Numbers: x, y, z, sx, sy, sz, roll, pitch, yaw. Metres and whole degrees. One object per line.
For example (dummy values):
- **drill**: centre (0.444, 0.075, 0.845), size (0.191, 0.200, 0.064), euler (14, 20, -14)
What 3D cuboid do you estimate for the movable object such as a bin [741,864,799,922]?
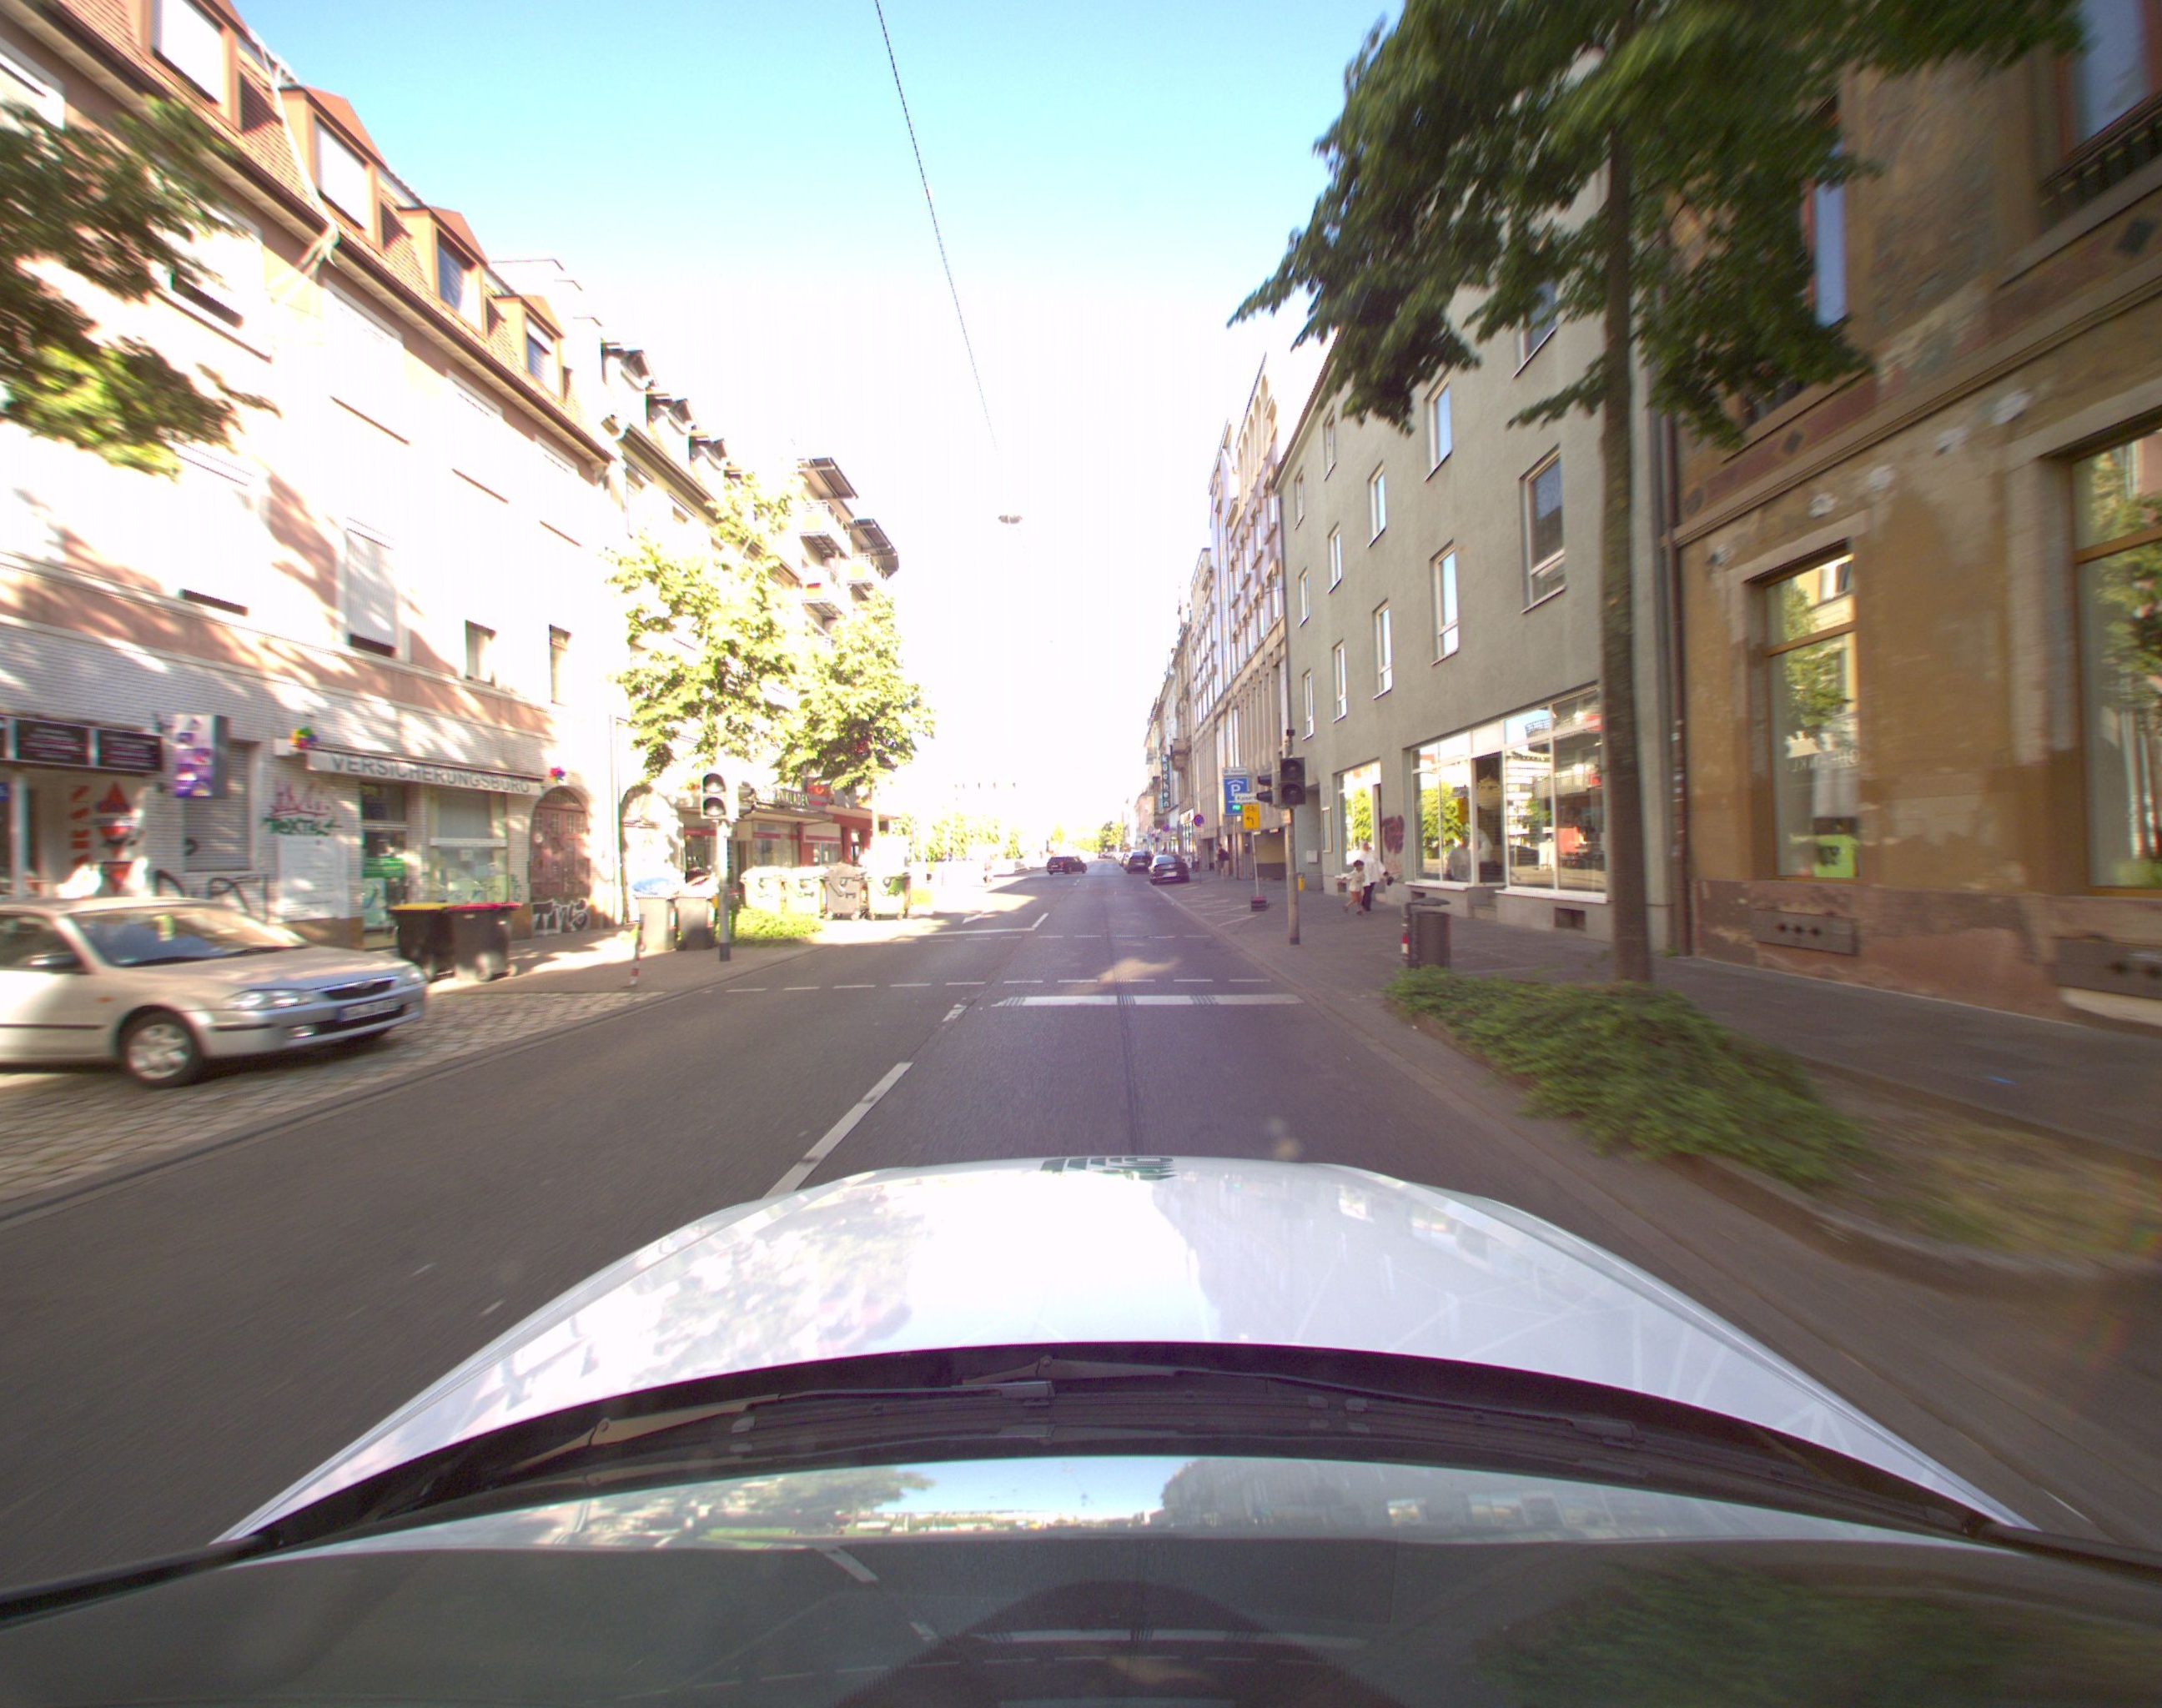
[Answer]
- **movable object such as a bin**: centre (-8.282, 1.020, 21.724), size (1.038, 1.471, 1.143), euler (-2, 0, 0)

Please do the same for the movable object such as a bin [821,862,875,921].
- **movable object such as a bin**: centre (-6.212, 0.992, 21.776), size (1.038, 1.471, 1.143), euler (-2, 0, 0)

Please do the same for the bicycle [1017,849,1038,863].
- **bicycle**: centre (-8.257, 0.295, 125.522), size (3.101, 2.013, 0.911), euler (-1, 0, 10)

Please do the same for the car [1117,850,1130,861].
- **car**: centre (5.899, 0.249, 113.814), size (1.785, 1.460, 3.869), euler (-1, -1, 2)

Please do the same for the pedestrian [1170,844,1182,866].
- **pedestrian**: centre (7.437, 0.097, 63.902), size (0.797, 1.674, 0.590), euler (-4, 0, 4)

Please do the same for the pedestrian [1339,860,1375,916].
- **pedestrian**: centre (5.416, 0.656, 15.997), size (0.392, 1.033, 0.740), euler (-5, 0, 0)

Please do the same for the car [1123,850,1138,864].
- **car**: centre (5.545, 0.344, 90.738), size (1.607, 1.546, 2.857), euler (-1, 1, 3)

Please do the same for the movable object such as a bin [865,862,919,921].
- **movable object such as a bin**: centre (-5.034, 0.974, 21.829), size (1.038, 1.471, 1.452), euler (-2, 0, 0)

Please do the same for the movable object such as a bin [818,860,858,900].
- **movable object such as a bin**: centre (-9.039, 0.956, 30.347), size (1.038, 1.404, 1.314), euler (-2, 0, 0)

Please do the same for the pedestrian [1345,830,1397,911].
- **pedestrian**: centre (5.928, 0.330, 16.691), size (0.578, 1.559, 1.021), euler (-5, 0, 0)

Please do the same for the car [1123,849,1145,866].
- **car**: centre (5.025, 0.320, 77.690), size (1.832, 1.546, 4.229), euler (-1, 1, 1)

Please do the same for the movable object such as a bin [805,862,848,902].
- **movable object such as a bin**: centre (-9.033, 0.975, 28.985), size (1.038, 1.345, 1.314), euler (-2, 0, 0)

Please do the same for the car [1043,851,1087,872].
- **car**: centre (-1.171, 0.572, 63.396), size (1.918, 1.487, 4.293), euler (-1, 1, 21)

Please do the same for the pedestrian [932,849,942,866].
- **pedestrian**: centre (-18.791, 0.446, 106.316), size (0.725, 2.108, 0.973), euler (-2, 0, 24)

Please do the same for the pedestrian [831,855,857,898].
- **pedestrian**: centre (-9.584, 0.900, 32.990), size (0.662, 1.659, 1.037), euler (-2, 0, 1)

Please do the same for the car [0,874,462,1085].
- **car**: centre (-8.001, 0.976, 6.911), size (4.185, 1.468, 1.741), euler (-1, 0, 3)

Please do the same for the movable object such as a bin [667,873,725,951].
- **movable object such as a bin**: centre (-7.063, 1.049, 14.977), size (0.632, 1.341, 0.805), euler (-2, 0, 0)

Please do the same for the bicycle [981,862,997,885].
- **bicycle**: centre (-4.893, 1.020, 43.468), size (0.704, 1.146, 1.965), euler (-2, 0, -3)

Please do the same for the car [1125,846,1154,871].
- **car**: centre (4.276, 0.281, 60.320), size (1.966, 1.725, 4.826), euler (-1, 1, 2)

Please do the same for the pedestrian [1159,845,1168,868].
- **pedestrian**: centre (6.473, 0.169, 63.984), size (0.617, 1.766, 0.519), euler (-2, 0, 4)

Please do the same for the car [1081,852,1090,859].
- **car**: centre (1.195, 0.323, 211.850), size (1.985, 1.771, 4.004), euler (-1, 1, 3)

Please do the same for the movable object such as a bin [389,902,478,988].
- **movable object such as a bin**: centre (-8.947, 1.238, 11.281), size (0.529, 1.069, 0.805), euler (-2, 0, 0)

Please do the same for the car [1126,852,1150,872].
- **car**: centre (4.653, 0.646, 67.313), size (1.832, 1.487, 4.186), euler (-1, 1, 2)

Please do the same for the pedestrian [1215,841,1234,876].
- **pedestrian**: centre (6.966, 0.224, 39.510), size (0.689, 1.635, 0.889), euler (-4, 0, 1)

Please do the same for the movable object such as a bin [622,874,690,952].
- **movable object such as a bin**: centre (-7.777, 1.064, 14.936), size (0.752, 1.341, 0.805), euler (-2, 0, 0)

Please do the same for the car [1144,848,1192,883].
- **car**: centre (4.296, 0.523, 40.827), size (1.910, 1.478, 4.967), euler (-6, 0, 2)

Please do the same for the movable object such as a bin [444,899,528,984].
- **movable object such as a bin**: centre (-8.234, 1.199, 11.304), size (0.529, 1.069, 0.805), euler (-2, 0, 0)

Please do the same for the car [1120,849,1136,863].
- **car**: centre (5.515, 0.233, 96.224), size (1.711, 1.635, 4.083), euler (-1, -1, 0)

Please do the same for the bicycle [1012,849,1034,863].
- **bicycle**: centre (-8.779, 0.351, 122.538), size (3.101, 2.013, 0.911), euler (-1, 0, 10)

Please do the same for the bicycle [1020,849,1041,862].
- **bicycle**: centre (-7.972, 0.280, 127.638), size (3.101, 2.013, 0.911), euler (-1, 0, 10)

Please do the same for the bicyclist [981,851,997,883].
- **bicyclist**: centre (-4.907, 0.667, 43.447), size (0.695, 1.653, 1.035), euler (-2, 0, -3)

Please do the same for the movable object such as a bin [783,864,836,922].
- **movable object such as a bin**: centre (-7.231, 1.016, 21.732), size (0.960, 1.471, 1.143), euler (-2, 0, 0)
